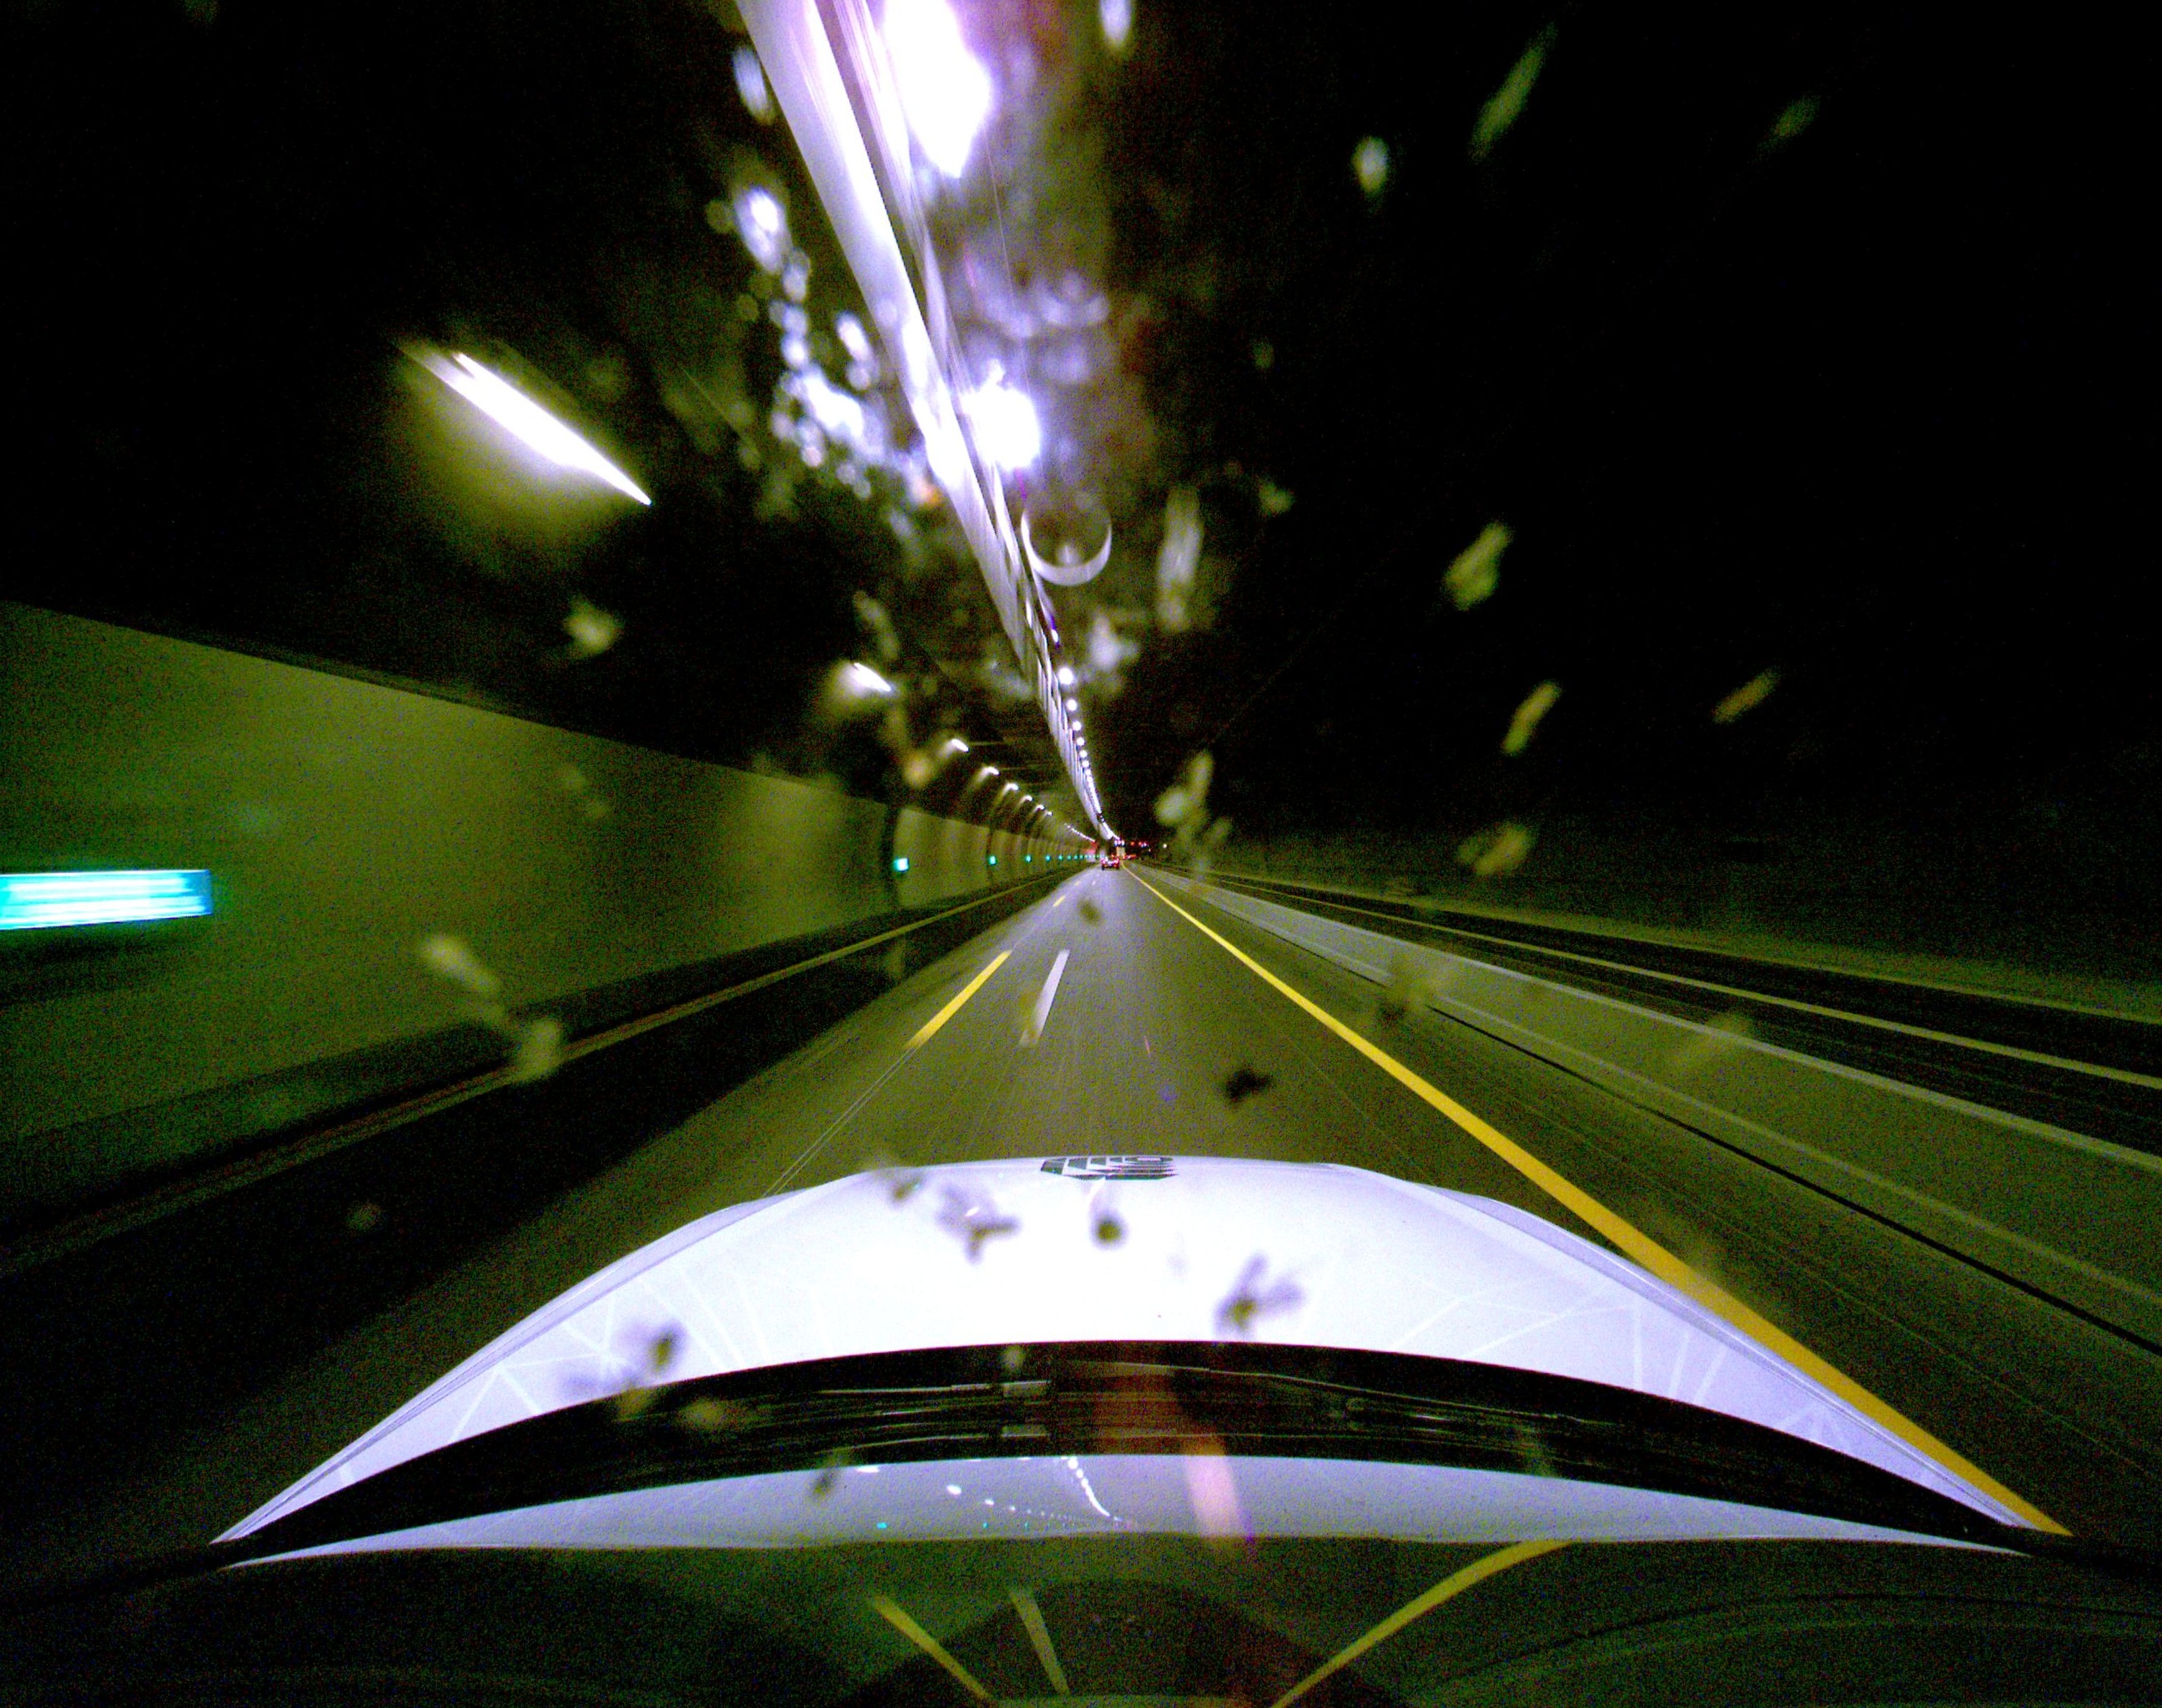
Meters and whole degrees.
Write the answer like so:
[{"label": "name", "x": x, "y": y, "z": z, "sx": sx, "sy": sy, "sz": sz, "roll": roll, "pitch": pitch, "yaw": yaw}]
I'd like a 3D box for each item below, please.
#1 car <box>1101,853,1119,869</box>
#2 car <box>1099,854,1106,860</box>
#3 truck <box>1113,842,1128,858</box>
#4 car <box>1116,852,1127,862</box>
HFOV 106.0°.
[{"label": "car", "x": 3.082, "y": 0.730, "z": 86.998, "sx": 1.881, "sy": 1.607, "sz": 4.001, "roll": -1, "pitch": -1, "yaw": 1}, {"label": "car", "x": 5.361, "y": 0.742, "z": 205.593, "sx": 1.820, "sy": 1.607, "sz": 4.001, "roll": -1, "pitch": -1, "yaw": 1}, {"label": "truck", "x": 12.824, "y": -1.083, "z": 261.900, "sx": 4.526, "sy": 4.987, "sz": 9.608, "roll": -1, "pitch": -1, "yaw": 4}, {"label": "car", "x": 7.948, "y": 0.579, "z": 158.998, "sx": 1.986, "sy": 2.013, "sz": 4.002, "roll": -1, "pitch": 0, "yaw": 2}]
